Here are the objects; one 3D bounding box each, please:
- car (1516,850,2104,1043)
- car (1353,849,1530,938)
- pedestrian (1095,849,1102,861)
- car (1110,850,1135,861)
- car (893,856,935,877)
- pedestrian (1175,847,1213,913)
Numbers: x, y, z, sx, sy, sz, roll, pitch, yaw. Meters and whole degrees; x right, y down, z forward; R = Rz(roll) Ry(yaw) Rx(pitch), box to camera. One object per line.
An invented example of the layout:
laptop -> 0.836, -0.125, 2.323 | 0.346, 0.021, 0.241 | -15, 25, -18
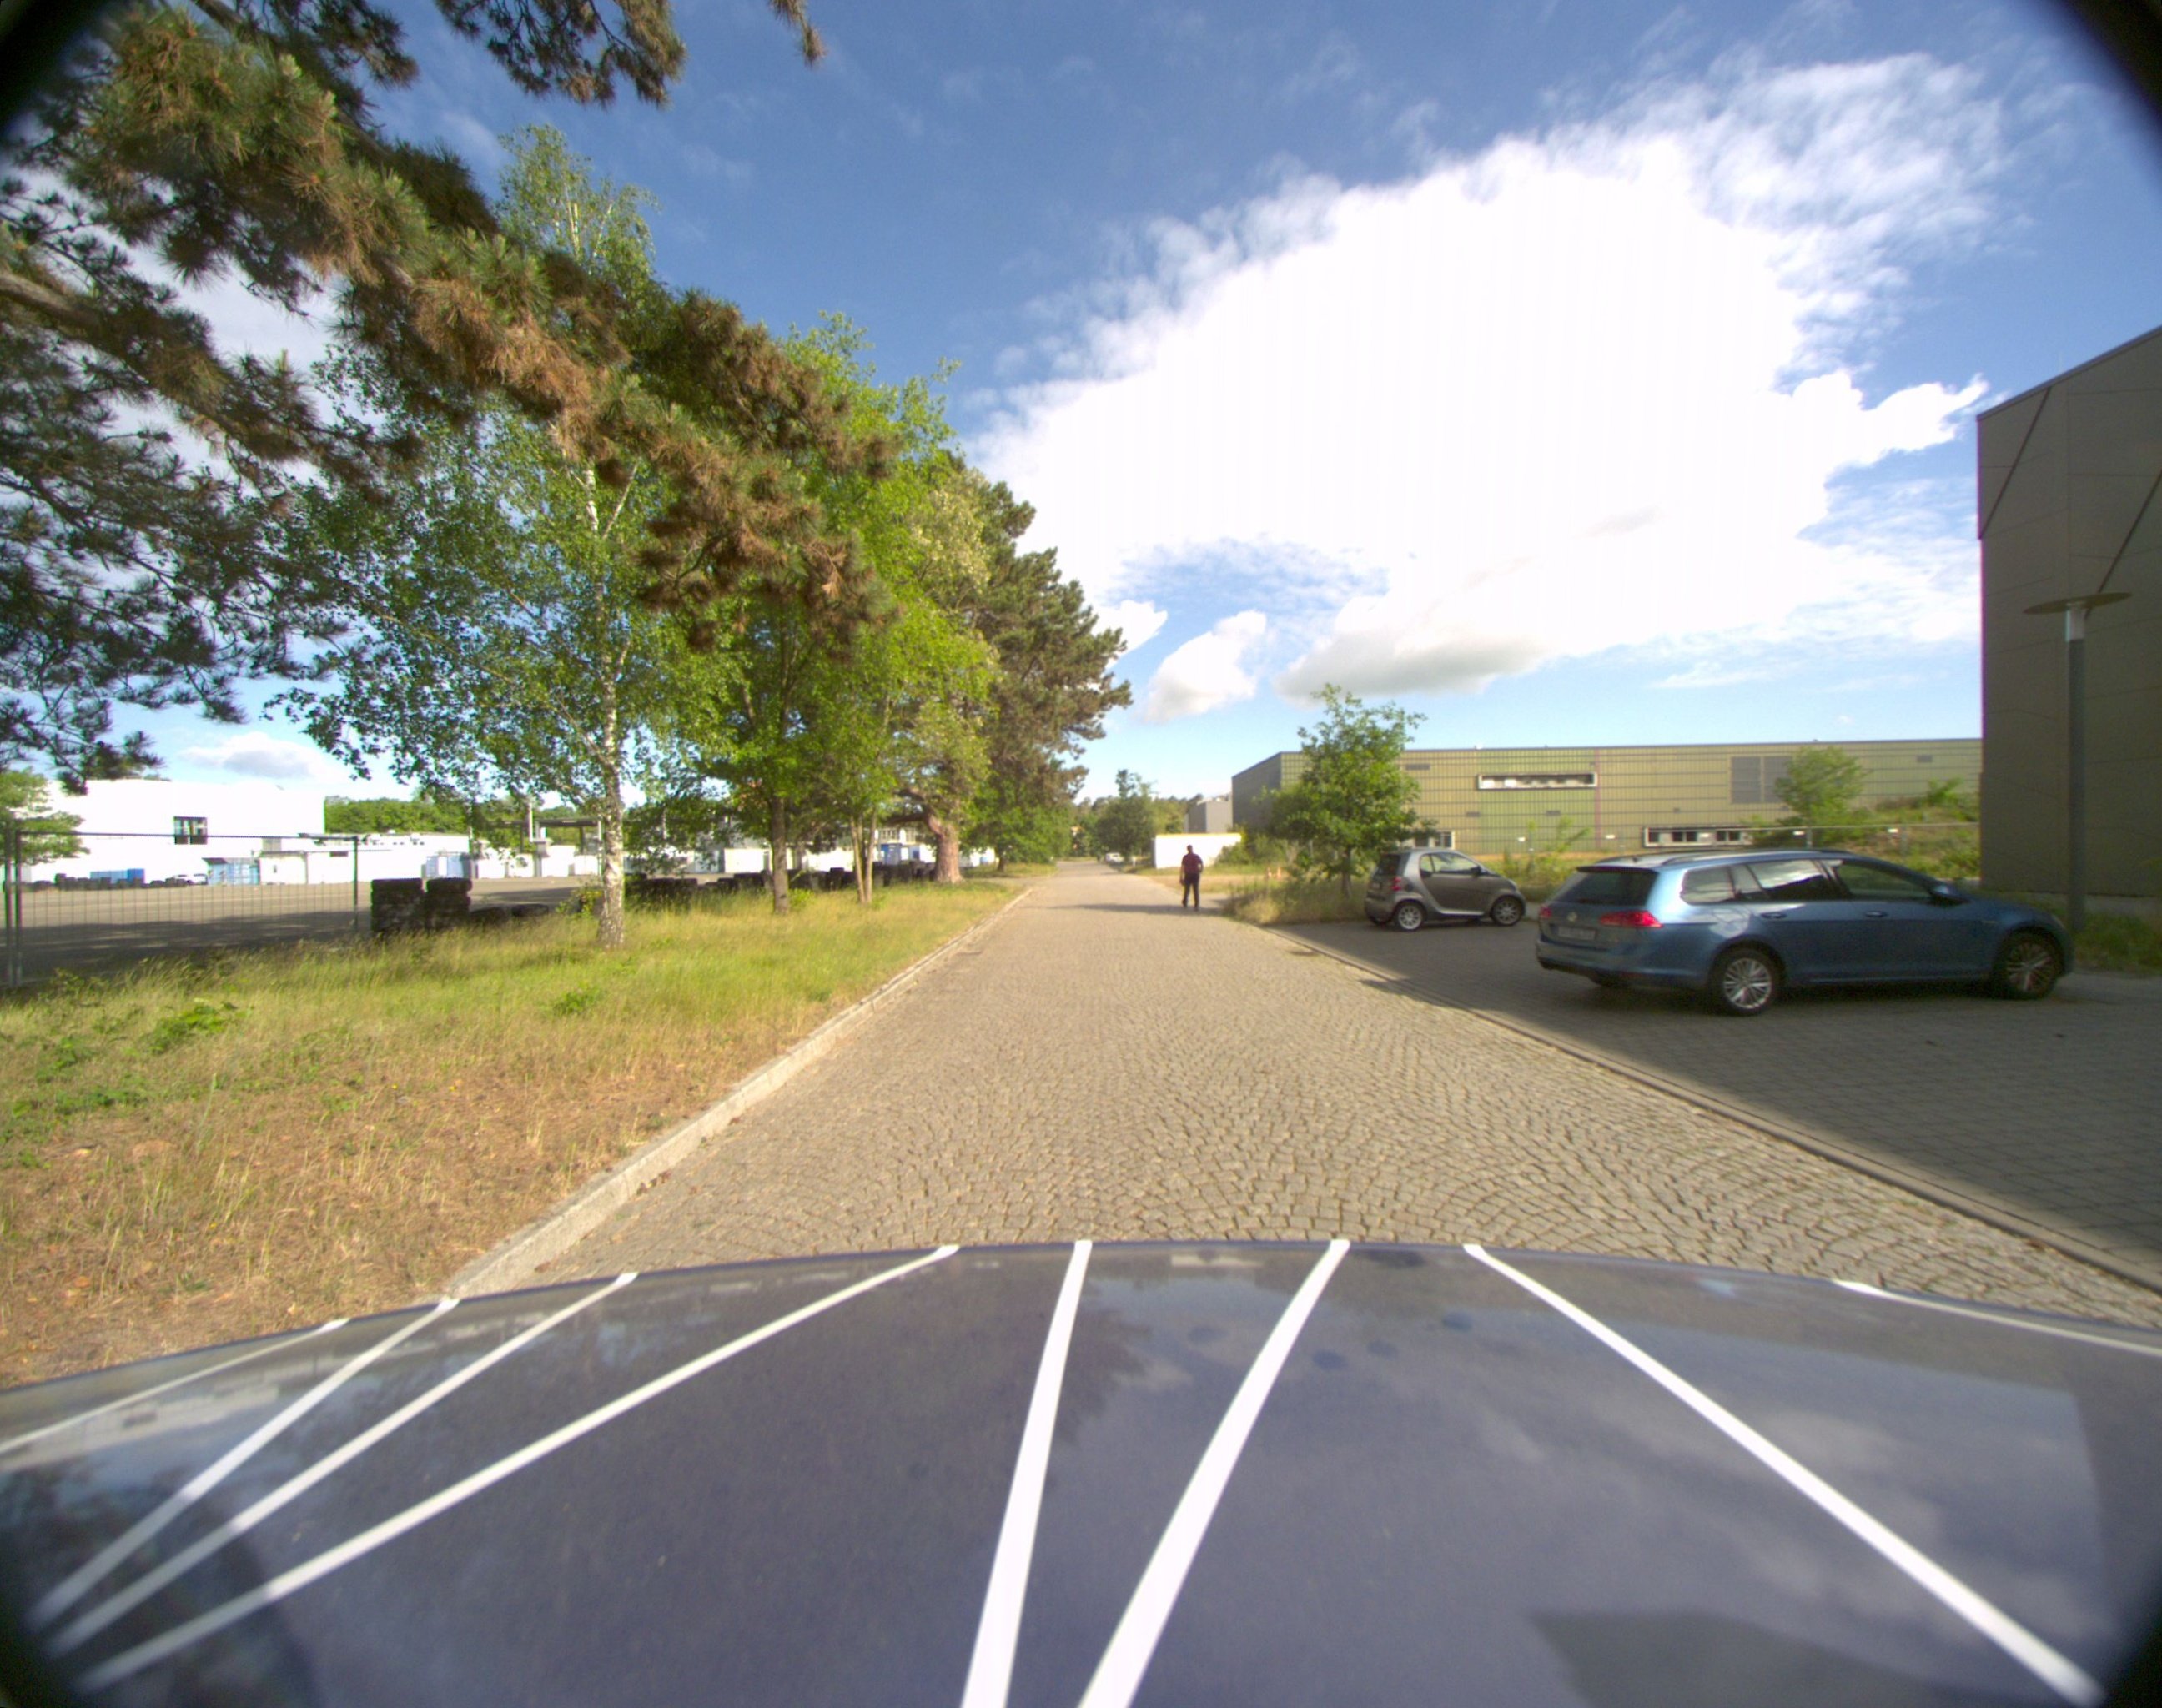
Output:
car -> 6.915, 0.800, 7.506 | 4.268, 1.455, 1.680 | -3, 1, -2
car -> 7.007, 0.731, 14.935 | 2.706, 1.533, 1.518 | -3, 1, -1
pedestrian -> 2.562, 0.163, 109.588 | 0.908, 1.797, 0.983 | -1, 1, -7
car -> 6.628, 0.250, 122.234 | 3.996, 1.678, 2.000 | -1, 1, 3
car -> -12.335, 0.911, 56.493 | 1.846, 1.440, 4.001 | -1, 0, 6
pedestrian -> 3.103, 0.701, 20.946 | 0.806, 1.761, 1.152 | -1, 1, -4
